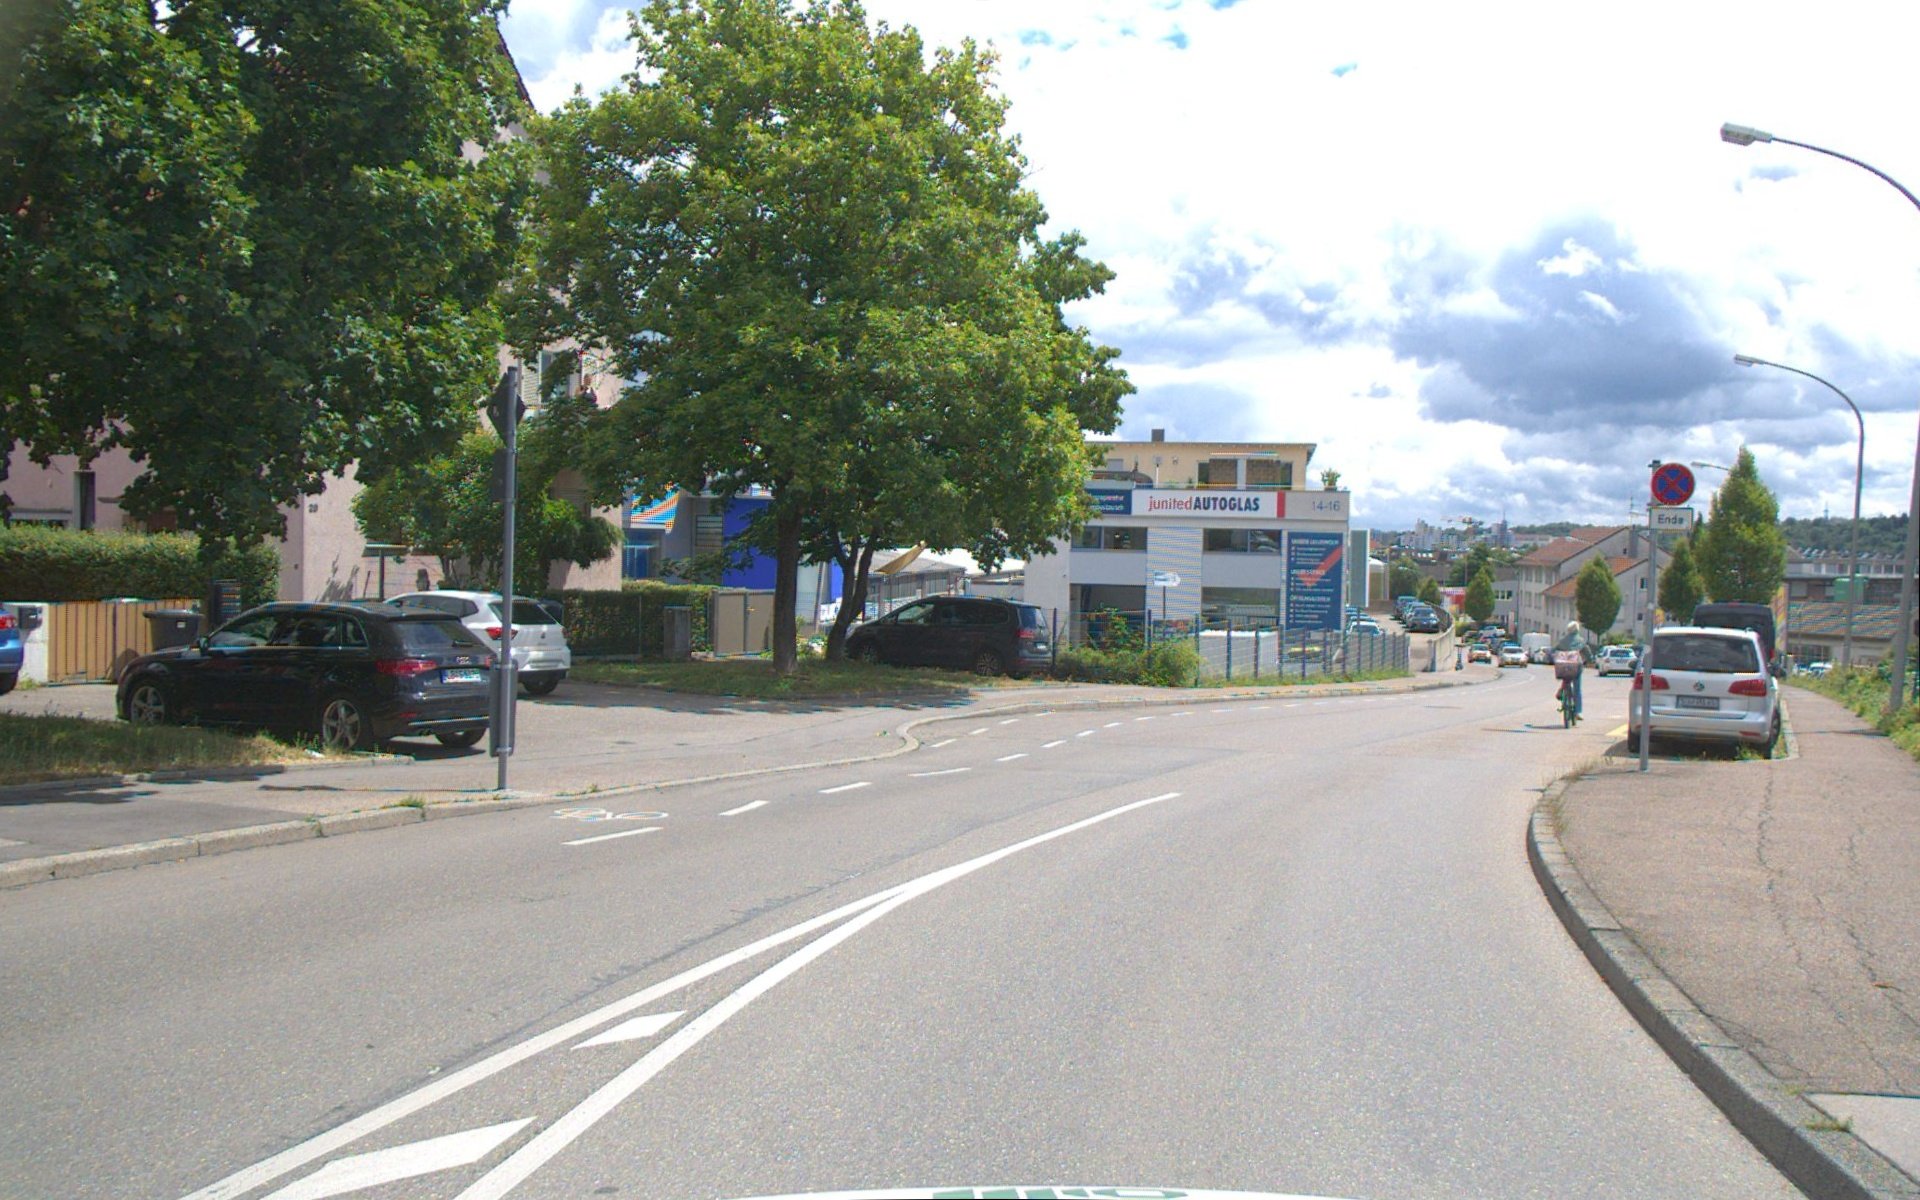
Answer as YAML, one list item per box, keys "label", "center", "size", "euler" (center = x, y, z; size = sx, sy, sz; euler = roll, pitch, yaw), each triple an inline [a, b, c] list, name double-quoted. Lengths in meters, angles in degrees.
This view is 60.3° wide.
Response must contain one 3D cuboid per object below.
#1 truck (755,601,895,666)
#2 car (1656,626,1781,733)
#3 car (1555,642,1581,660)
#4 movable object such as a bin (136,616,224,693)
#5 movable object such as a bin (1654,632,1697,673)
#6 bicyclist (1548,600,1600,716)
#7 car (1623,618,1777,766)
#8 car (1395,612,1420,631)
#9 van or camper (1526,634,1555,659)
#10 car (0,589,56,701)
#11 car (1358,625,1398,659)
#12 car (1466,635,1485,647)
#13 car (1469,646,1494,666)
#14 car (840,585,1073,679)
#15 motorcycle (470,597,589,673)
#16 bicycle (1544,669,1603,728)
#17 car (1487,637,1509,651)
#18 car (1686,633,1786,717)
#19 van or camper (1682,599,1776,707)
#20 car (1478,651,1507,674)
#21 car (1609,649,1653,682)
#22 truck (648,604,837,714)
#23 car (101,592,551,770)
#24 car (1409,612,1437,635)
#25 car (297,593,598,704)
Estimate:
- label: "truck"
  center: [-5.836, 1.462, 71.809]
  size: [5.658, 2.754, 2.179]
  euler: [0, -2, 14]
- label: "car"
  center: [12.495, 1.237, 27.169]
  size: [1.672, 1.513, 4.568]
  euler: [3, 0, 26]
- label: "car"
  center: [50.865, 4.293, 138.359]
  size: [1.952, 1.490, 4.001]
  euler: [0, -2, 19]
- label: "movable object such as a bin"
  center: [-11.530, 0.797, 24.447]
  size: [0.742, 1.080, 0.878]
  euler: [2, 0, 31]
- label: "movable object such as a bin"
  center: [41.717, 3.077, 96.466]
  size: [2.089, 2.343, 2.558]
  euler: [0, -2, 18]
- label: "bicyclist"
  center: [10.054, 0.938, 27.088]
  size: [0.671, 1.858, 1.079]
  euler: [-1, -2, 27]
- label: "car"
  center: [10.034, 1.156, 22.312]
  size: [1.672, 1.707, 4.304]
  euler: [3, 0, 26]
- label: "car"
  center: [32.823, 1.575, 121.348]
  size: [1.634, 1.347, 3.721]
  euler: [0, -2, 13]
- label: "van or camper"
  center: [51.943, 4.111, 148.064]
  size: [1.951, 2.048, 4.003]
  euler: [4, 0, 13]
- label: "car"
  center: [-13.831, 0.547, 21.529]
  size: [3.728, 1.402, 1.841]
  euler: [1, 0, 27]
- label: "car"
  center: [20.831, 2.101, 82.522]
  size: [1.808, 1.679, 4.003]
  euler: [0, -2, 13]
- label: "car"
  center: [61.905, 4.898, 198.678]
  size: [1.951, 1.445, 4.003]
  euler: [0, -2, 13]
- label: "car"
  center: [42.776, 4.584, 135.668]
  size: [1.672, 1.602, 4.003]
  euler: [0, -2, 14]
- label: "car"
  center: [-0.084, 0.693, 35.999]
  size: [4.608, 1.746, 1.998]
  euler: [3, -2, 26]
- label: "motorcycle"
  center: [-8.065, 0.653, 31.115]
  size: [0.899, 1.338, 2.234]
  euler: [3, 0, 25]
- label: "bicycle"
  center: [10.055, 1.599, 27.064]
  size: [0.674, 0.894, 2.099]
  euler: [-1, -2, 26]
- label: "car"
  center: [57.206, 4.682, 176.008]
  size: [1.951, 1.490, 4.002]
  euler: [0, -2, 14]
- label: "car"
  center: [15.641, 1.455, 33.388]
  size: [1.672, 1.505, 3.954]
  euler: [3, 0, 25]
- label: "van or camper"
  center: [20.430, 1.377, 43.848]
  size: [2.083, 2.630, 5.911]
  euler: [1, -1, 26]
- label: "car"
  center: [37.440, 4.377, 116.312]
  size: [1.666, 1.589, 4.330]
  euler: [0, -1, 14]
- label: "car"
  center: [34.162, 3.312, 84.310]
  size: [1.952, 1.646, 4.000]
  euler: [0, -2, 21]
- label: "truck"
  center: [-6.172, 1.669, 47.876]
  size: [2.410, 2.924, 5.873]
  euler: [1, -1, 28]
- label: "car"
  center: [-6.373, 0.735, 16.601]
  size: [4.051, 1.417, 1.998]
  euler: [3, 1, 27]
- label: "car"
  center: [28.963, 1.495, 103.617]
  size: [1.634, 1.347, 3.720]
  euler: [1, -2, 15]
- label: "car"
  center: [-7.376, 0.664, 23.850]
  size: [3.840, 1.428, 1.875]
  euler: [1, 0, 23]
